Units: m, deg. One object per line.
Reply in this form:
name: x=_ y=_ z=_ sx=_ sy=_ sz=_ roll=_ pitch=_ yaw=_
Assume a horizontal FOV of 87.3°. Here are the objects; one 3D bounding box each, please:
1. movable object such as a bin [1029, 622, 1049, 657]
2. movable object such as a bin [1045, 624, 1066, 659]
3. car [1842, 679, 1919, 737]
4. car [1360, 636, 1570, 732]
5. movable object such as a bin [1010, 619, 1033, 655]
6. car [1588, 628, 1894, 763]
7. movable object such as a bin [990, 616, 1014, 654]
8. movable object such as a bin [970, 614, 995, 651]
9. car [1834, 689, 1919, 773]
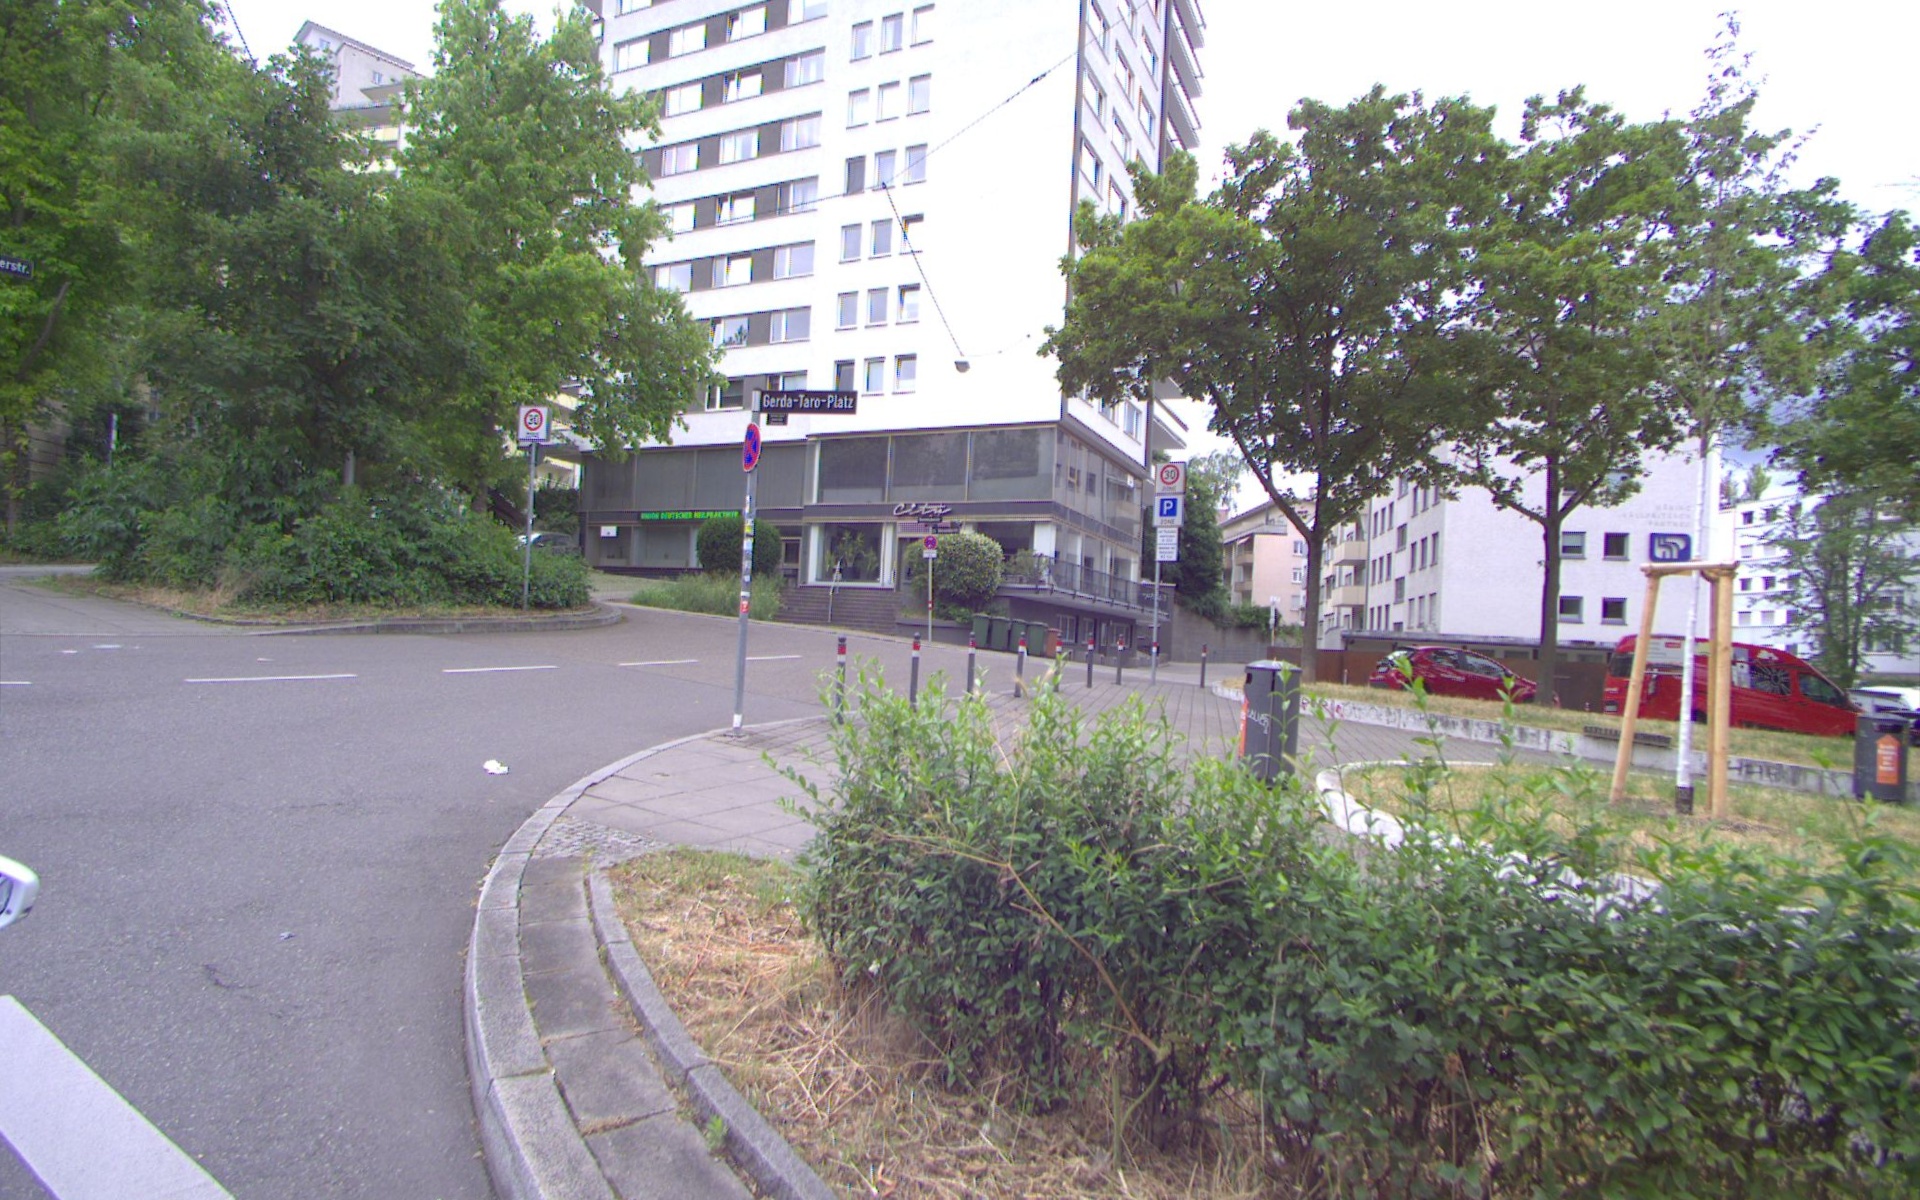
movable object such as a bin: x=2.464 y=1.227 z=31.396 sx=0.485 sy=1.037 sz=0.547 roll=6 pitch=1 yaw=10
movable object such as a bin: x=2.977 y=1.294 z=31.308 sx=0.485 sy=1.030 sz=0.547 roll=6 pitch=1 yaw=10
car: x=36.139 y=4.173 z=38.186 sx=2.064 sy=1.900 sz=4.613 roll=7 pitch=0 yaw=16
car: x=11.137 y=1.816 z=22.379 sx=3.647 sy=1.584 sz=1.749 roll=7 pitch=0 yaw=4
movable object such as a bin: x=1.927 y=1.149 z=31.480 sx=0.528 sy=1.054 sz=0.535 roll=6 pitch=1 yaw=10
car: x=16.982 y=2.024 z=22.101 sx=4.801 sy=2.241 sz=2.127 roll=7 pitch=0 yaw=2
movable object such as a bin: x=1.301 y=1.079 z=31.010 sx=0.565 sy=1.083 sz=0.554 roll=6 pitch=1 yaw=10
movable object such as a bin: x=0.703 y=1.005 z=31.104 sx=0.599 sy=1.092 sz=0.554 roll=6 pitch=1 yaw=10
car: x=22.145 y=3.063 z=21.842 sx=4.332 sy=1.584 sz=2.000 roll=7 pitch=0 yaw=4
